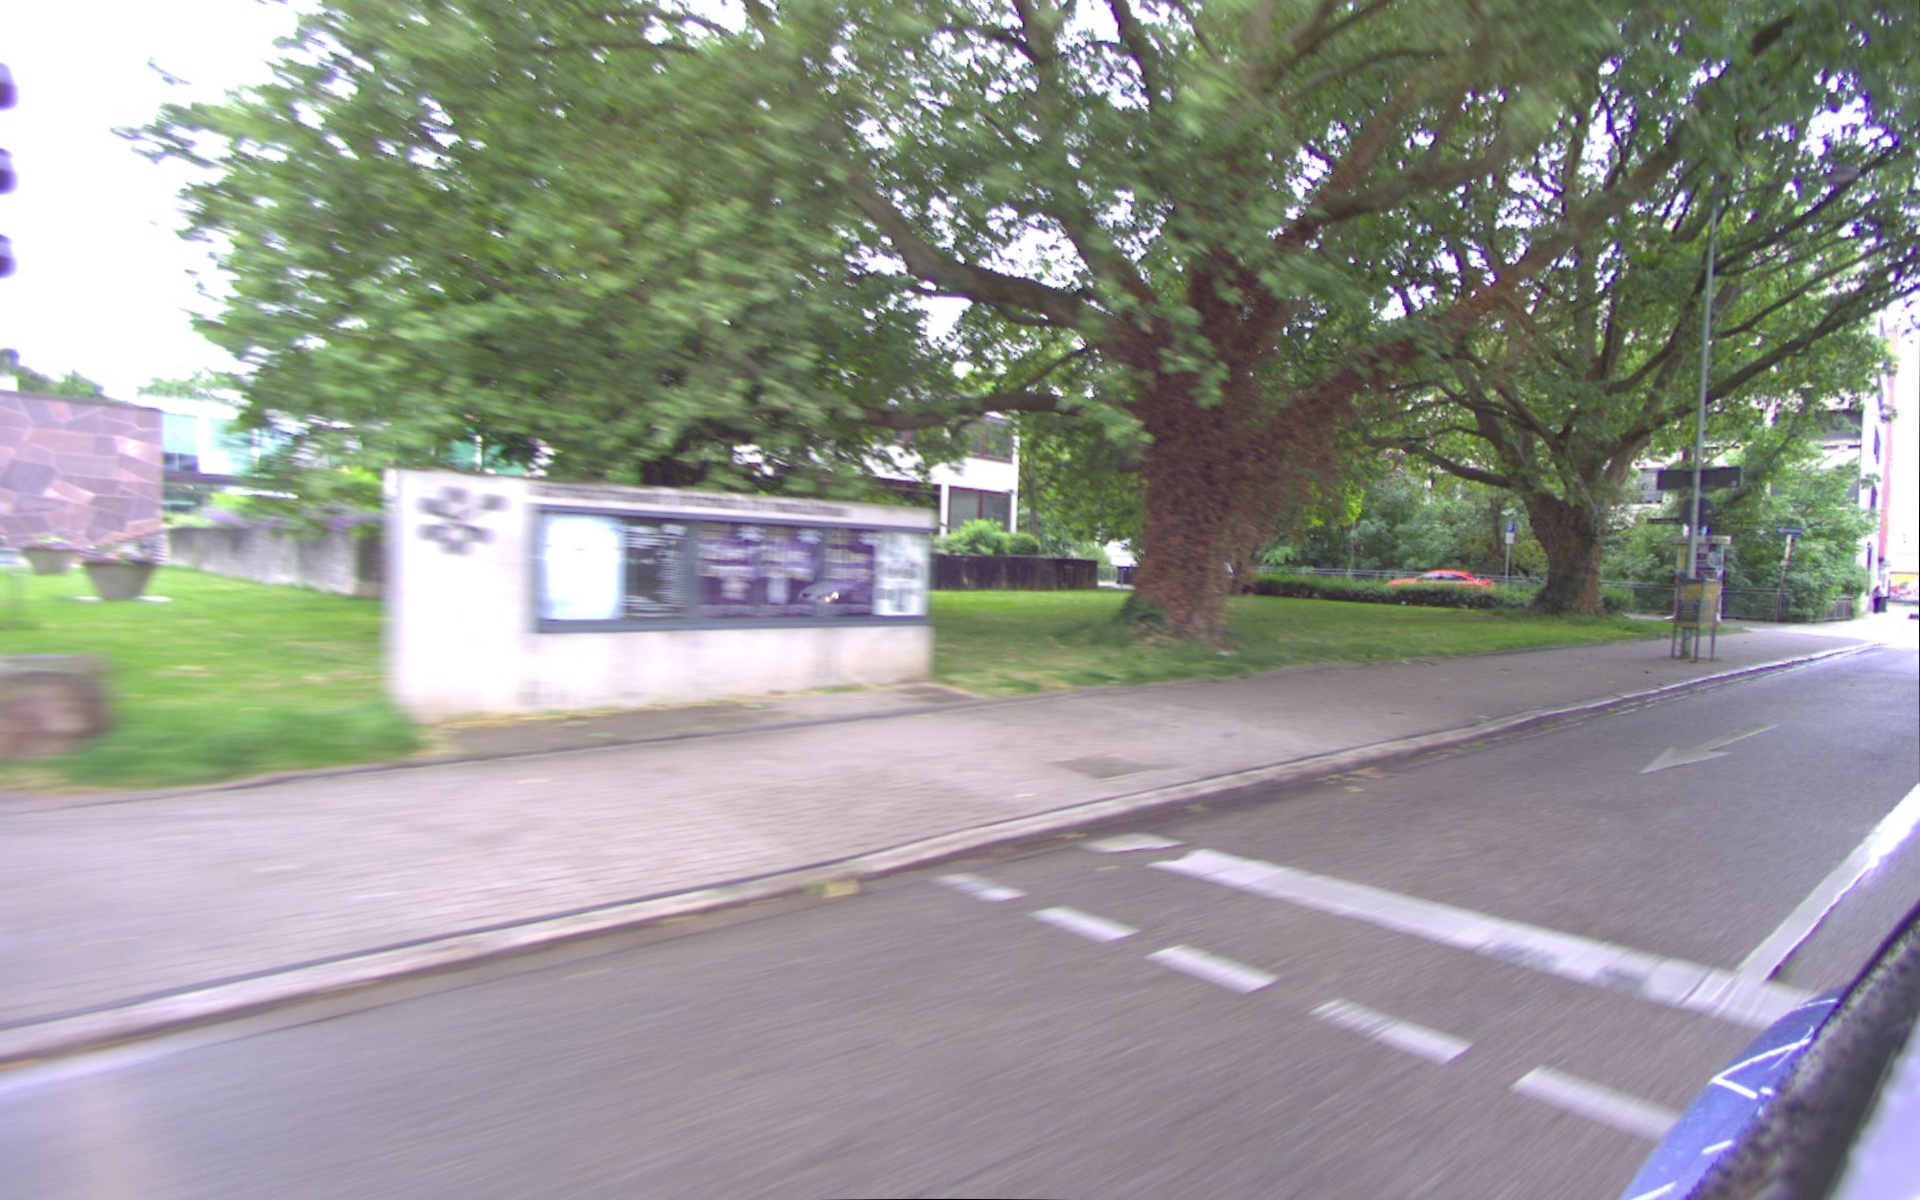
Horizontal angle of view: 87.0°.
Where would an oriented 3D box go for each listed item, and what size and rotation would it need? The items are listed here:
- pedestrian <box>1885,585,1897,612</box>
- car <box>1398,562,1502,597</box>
[{"bbox_3d":[52.917,-0.091,57.516,0.473,1.549,0.480,-1,1,-41],"label":"pedestrian"},{"bbox_3d":[21.357,-0.924,44.194,3.778,1.293,1.553,5,4,41],"label":"car"}]
